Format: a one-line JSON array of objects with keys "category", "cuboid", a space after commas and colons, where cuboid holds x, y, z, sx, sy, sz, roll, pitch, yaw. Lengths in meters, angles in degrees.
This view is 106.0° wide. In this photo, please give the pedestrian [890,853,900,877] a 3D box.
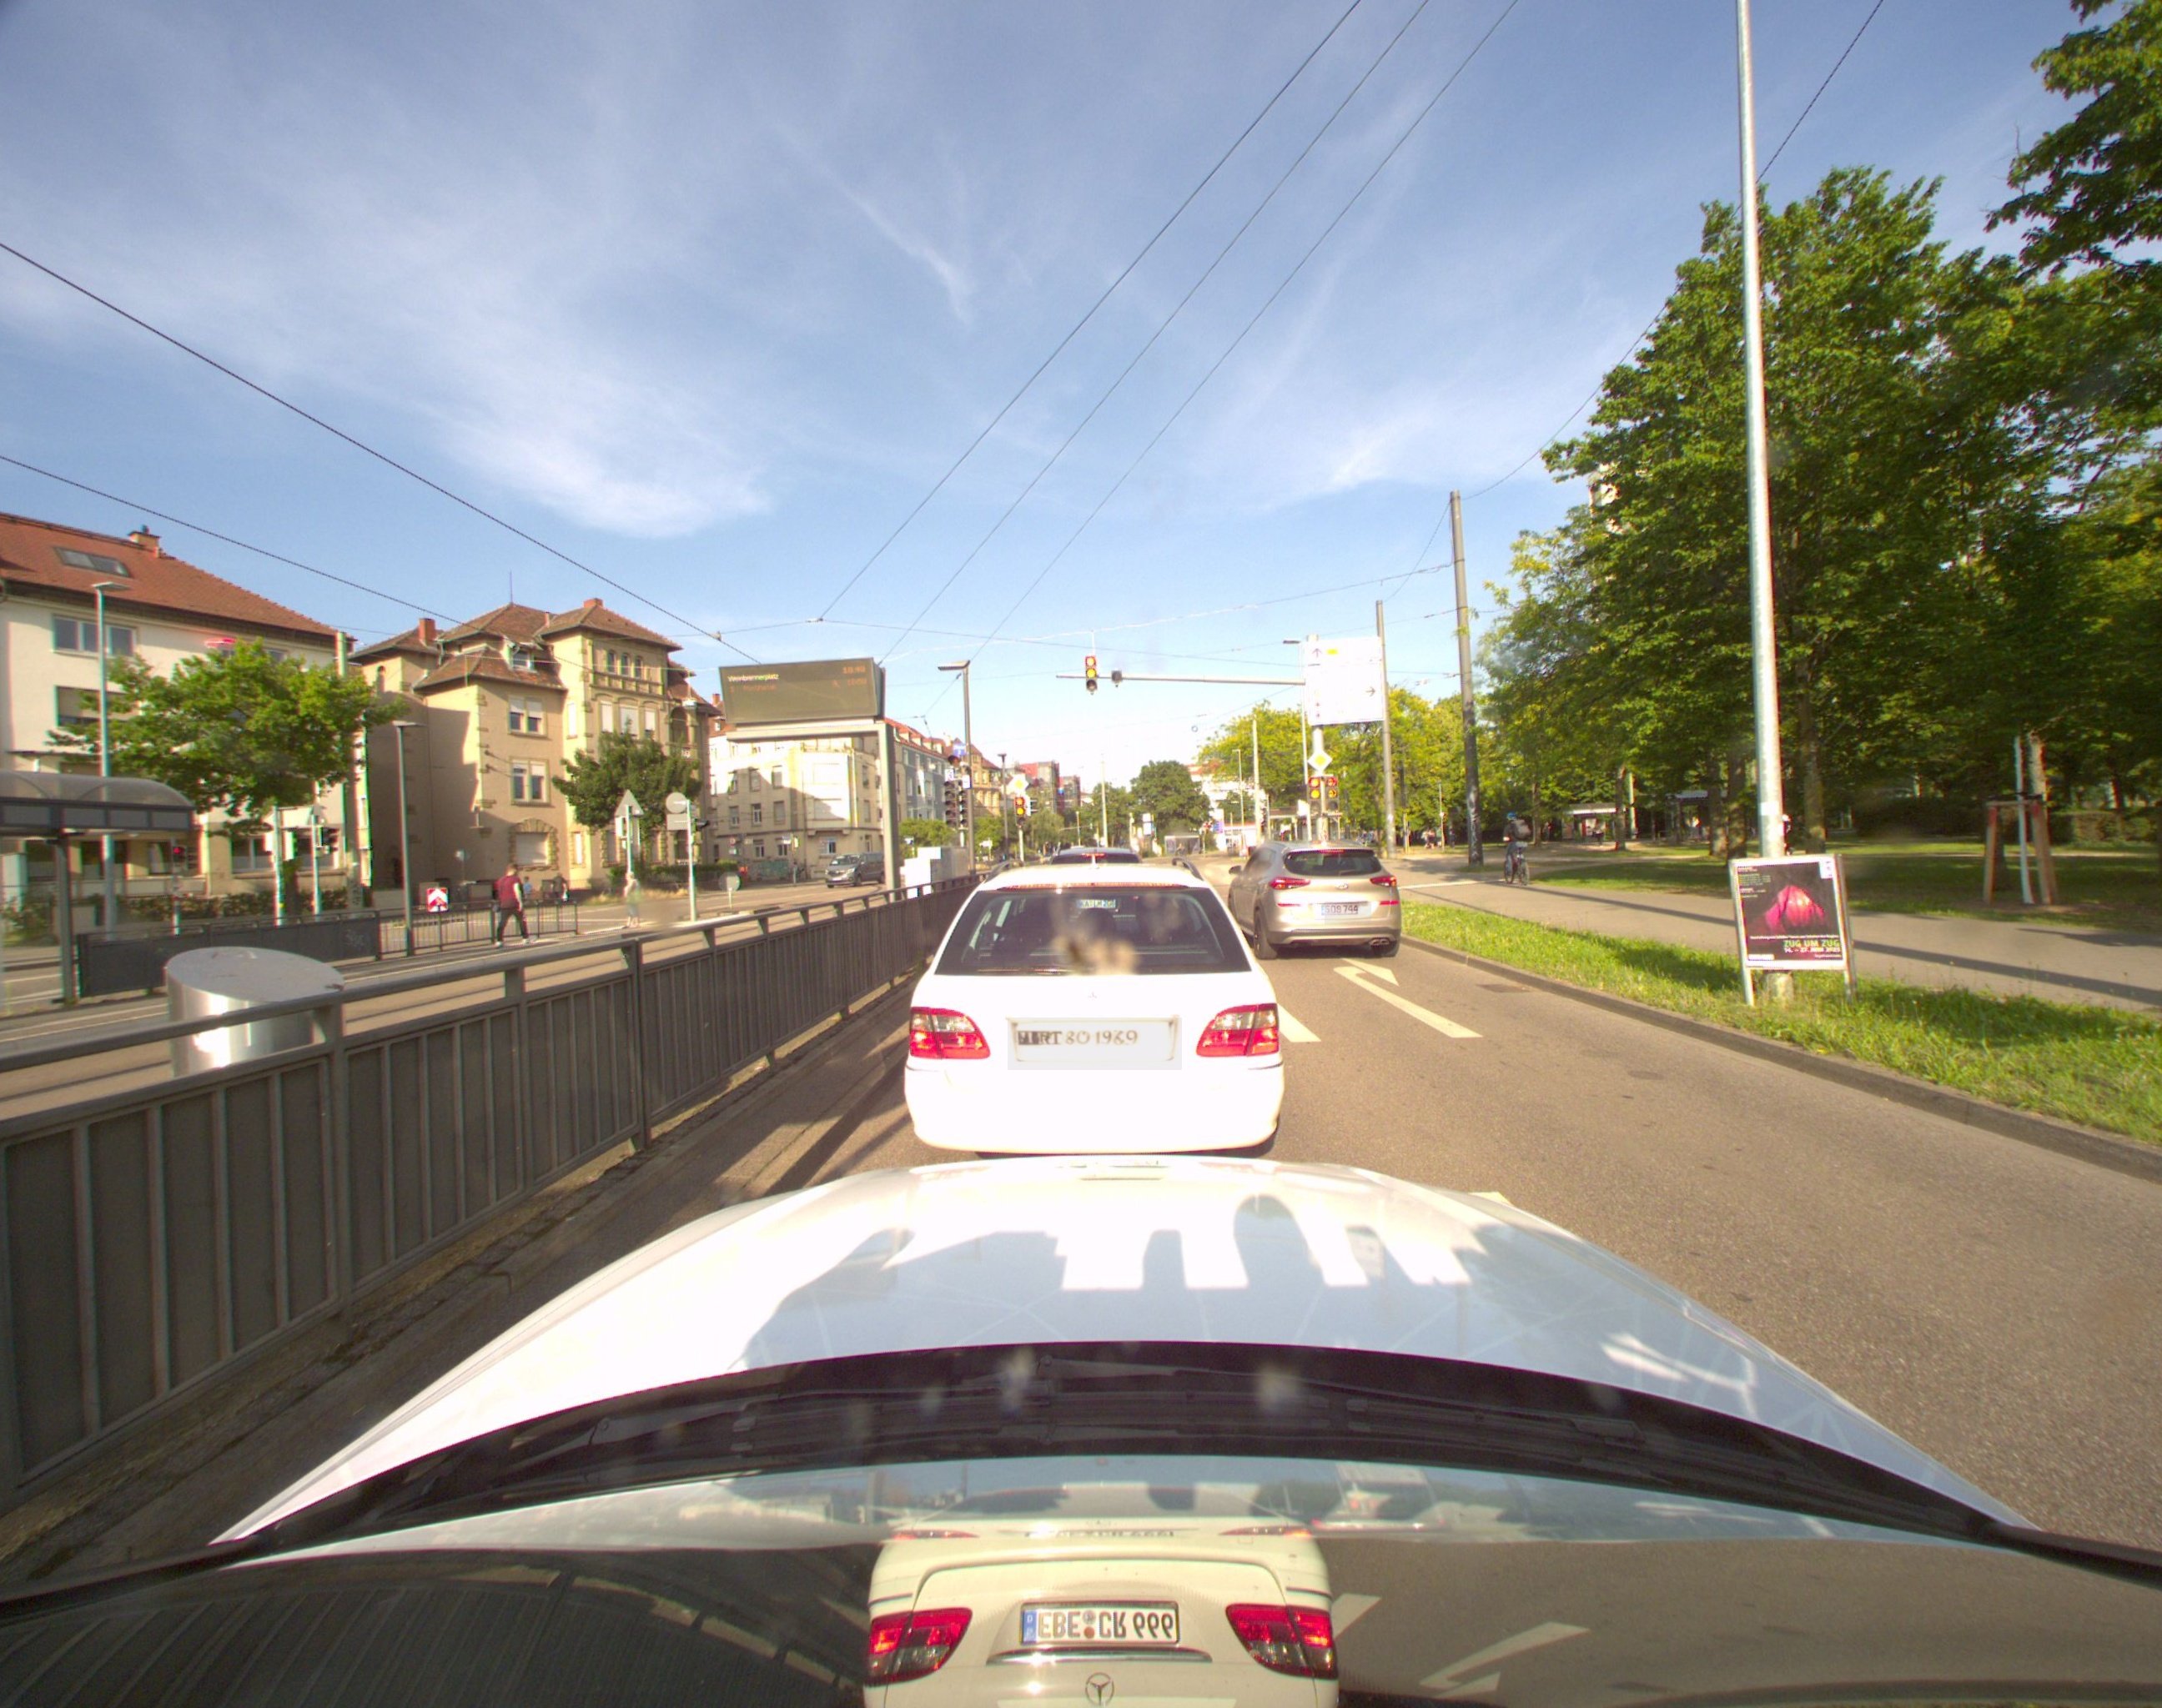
[{"category": "pedestrian", "cuboid": [-15.525, 0.923, 67.821, 0.582, 1.880, 0.626, -3, 2, -1]}]

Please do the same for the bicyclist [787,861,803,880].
[{"category": "bicyclist", "cuboid": [-25.017, 1.457, 71.222, 1.034, 1.569, 0.663, -3, 0, 9]}]

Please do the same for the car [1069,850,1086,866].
[{"category": "car", "cuboid": [-0.574, 0.532, 122.684, 2.168, 2.239, 5.257, -3, 0, 3]}]

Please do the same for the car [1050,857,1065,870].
[{"category": "car", "cuboid": [-3.031, 1.196, 105.876, 1.670, 1.525, 4.128, -3, 1, 3]}]

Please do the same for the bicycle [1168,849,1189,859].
[{"category": "bicycle", "cuboid": [10.551, 0.001, 87.877, 2.000, 0.947, 0.884, -3, 0, 21]}]

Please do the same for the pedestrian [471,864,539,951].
[{"category": "pedestrian", "cuboid": [-11.656, 1.054, 16.512, 0.668, 1.670, 0.883, -3, 0, -1]}]

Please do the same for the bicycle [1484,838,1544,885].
[{"category": "bicycle", "cuboid": [10.887, 0.171, 20.546, 0.637, 1.088, 1.736, -5, 0, 6]}]

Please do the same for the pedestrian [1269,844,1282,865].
[{"category": "pedestrian", "cuboid": [19.143, 0.062, 80.056, 0.986, 2.013, 0.833, -3, 0, 29]}]

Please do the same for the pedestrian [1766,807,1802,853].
[{"category": "pedestrian", "cuboid": [27.452, -0.938, 31.817, 0.668, 1.777, 0.881, 0, 0, 3]}]

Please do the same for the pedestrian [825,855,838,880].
[{"category": "pedestrian", "cuboid": [-19.328, 1.013, 63.118, 0.653, 1.881, 0.629, -3, 0, 16]}]

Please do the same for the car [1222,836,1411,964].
[{"category": "car", "cuboid": [3.337, 0.576, 12.294, 1.828, 1.600, 3.817, -1, 0, 2]}]

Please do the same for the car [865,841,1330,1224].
[{"category": "car", "cuboid": [0.123, 0.710, 5.166, 1.828, 1.501, 3.817, -1, 0, 2]}]

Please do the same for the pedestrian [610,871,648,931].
[{"category": "pedestrian", "cuboid": [-12.538, 1.289, 22.619, 0.588, 1.589, 0.715, -3, 0, -2]}]

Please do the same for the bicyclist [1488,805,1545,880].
[{"category": "bicyclist", "cuboid": [10.807, -0.282, 20.244, 0.716, 1.745, 1.142, -6, 0, 5]}]

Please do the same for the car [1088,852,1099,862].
[{"category": "car", "cuboid": [2.105, 0.553, 138.283, 1.760, 1.494, 4.746, -3, 2, 1]}]

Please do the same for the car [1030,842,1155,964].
[{"category": "car", "cuboid": [0.215, 0.645, 12.793, 1.635, 1.600, 3.817, -1, 0, 2]}]

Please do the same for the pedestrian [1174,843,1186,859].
[{"category": "pedestrian", "cuboid": [10.701, -0.339, 87.822, 0.998, 1.591, 0.870, -3, 0, 21]}]

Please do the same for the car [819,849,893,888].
[{"category": "car", "cuboid": [-13.019, 0.770, 47.486, 2.133, 2.013, 5.398, -3, 0, 7]}]

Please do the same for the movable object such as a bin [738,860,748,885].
[{"category": "movable object such as a bin", "cuboid": [-23.658, 1.282, 57.005, 0.265, 1.709, 2.360, -3, 0, -29]}]

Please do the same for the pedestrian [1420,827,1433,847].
[{"category": "pedestrian", "cuboid": [27.193, -1.333, 64.110, 0.638, 1.610, 0.691, -3, 0, 1]}]

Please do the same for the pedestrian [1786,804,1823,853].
[{"category": "pedestrian", "cuboid": [28.523, -0.990, 32.121, 0.668, 1.897, 0.880, 0, 0, 3]}]

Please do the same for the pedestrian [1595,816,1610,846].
[{"category": "pedestrian", "cuboid": [32.322, -1.427, 50.479, 0.461, 1.868, 0.602, 0, -1, -18]}]

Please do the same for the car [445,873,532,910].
[{"category": "car", "cuboid": [-29.403, 1.881, 40.398, 3.950, 1.632, 1.787, -3, 1, 26]}]

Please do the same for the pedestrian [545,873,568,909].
[{"category": "pedestrian", "cuboid": [-24.762, 1.722, 38.443, 0.672, 1.651, 0.608, -3, 0, 28]}]

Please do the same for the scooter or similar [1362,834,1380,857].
[{"category": "scooter or similar", "cuboid": [16.110, -0.446, 45.226, 0.351, 1.232, 1.131, -3, 0, -12]}]

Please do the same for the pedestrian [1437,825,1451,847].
[{"category": "pedestrian", "cuboid": [27.662, -1.349, 62.076, 0.638, 1.665, 0.691, -3, 0, 1]}]

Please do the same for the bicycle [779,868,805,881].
[{"category": "bicycle", "cuboid": [-25.279, 1.759, 71.276, 1.979, 1.006, 0.744, -3, 0, 8]}]

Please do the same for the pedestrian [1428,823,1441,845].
[{"category": "pedestrian", "cuboid": [27.437, -1.533, 63.257, 0.638, 1.665, 0.691, -3, 0, 1]}]

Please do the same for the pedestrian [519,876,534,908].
[{"category": "pedestrian", "cuboid": [-26.579, 1.811, 39.014, 0.400, 1.515, 0.392, -3, 0, 28]}]
